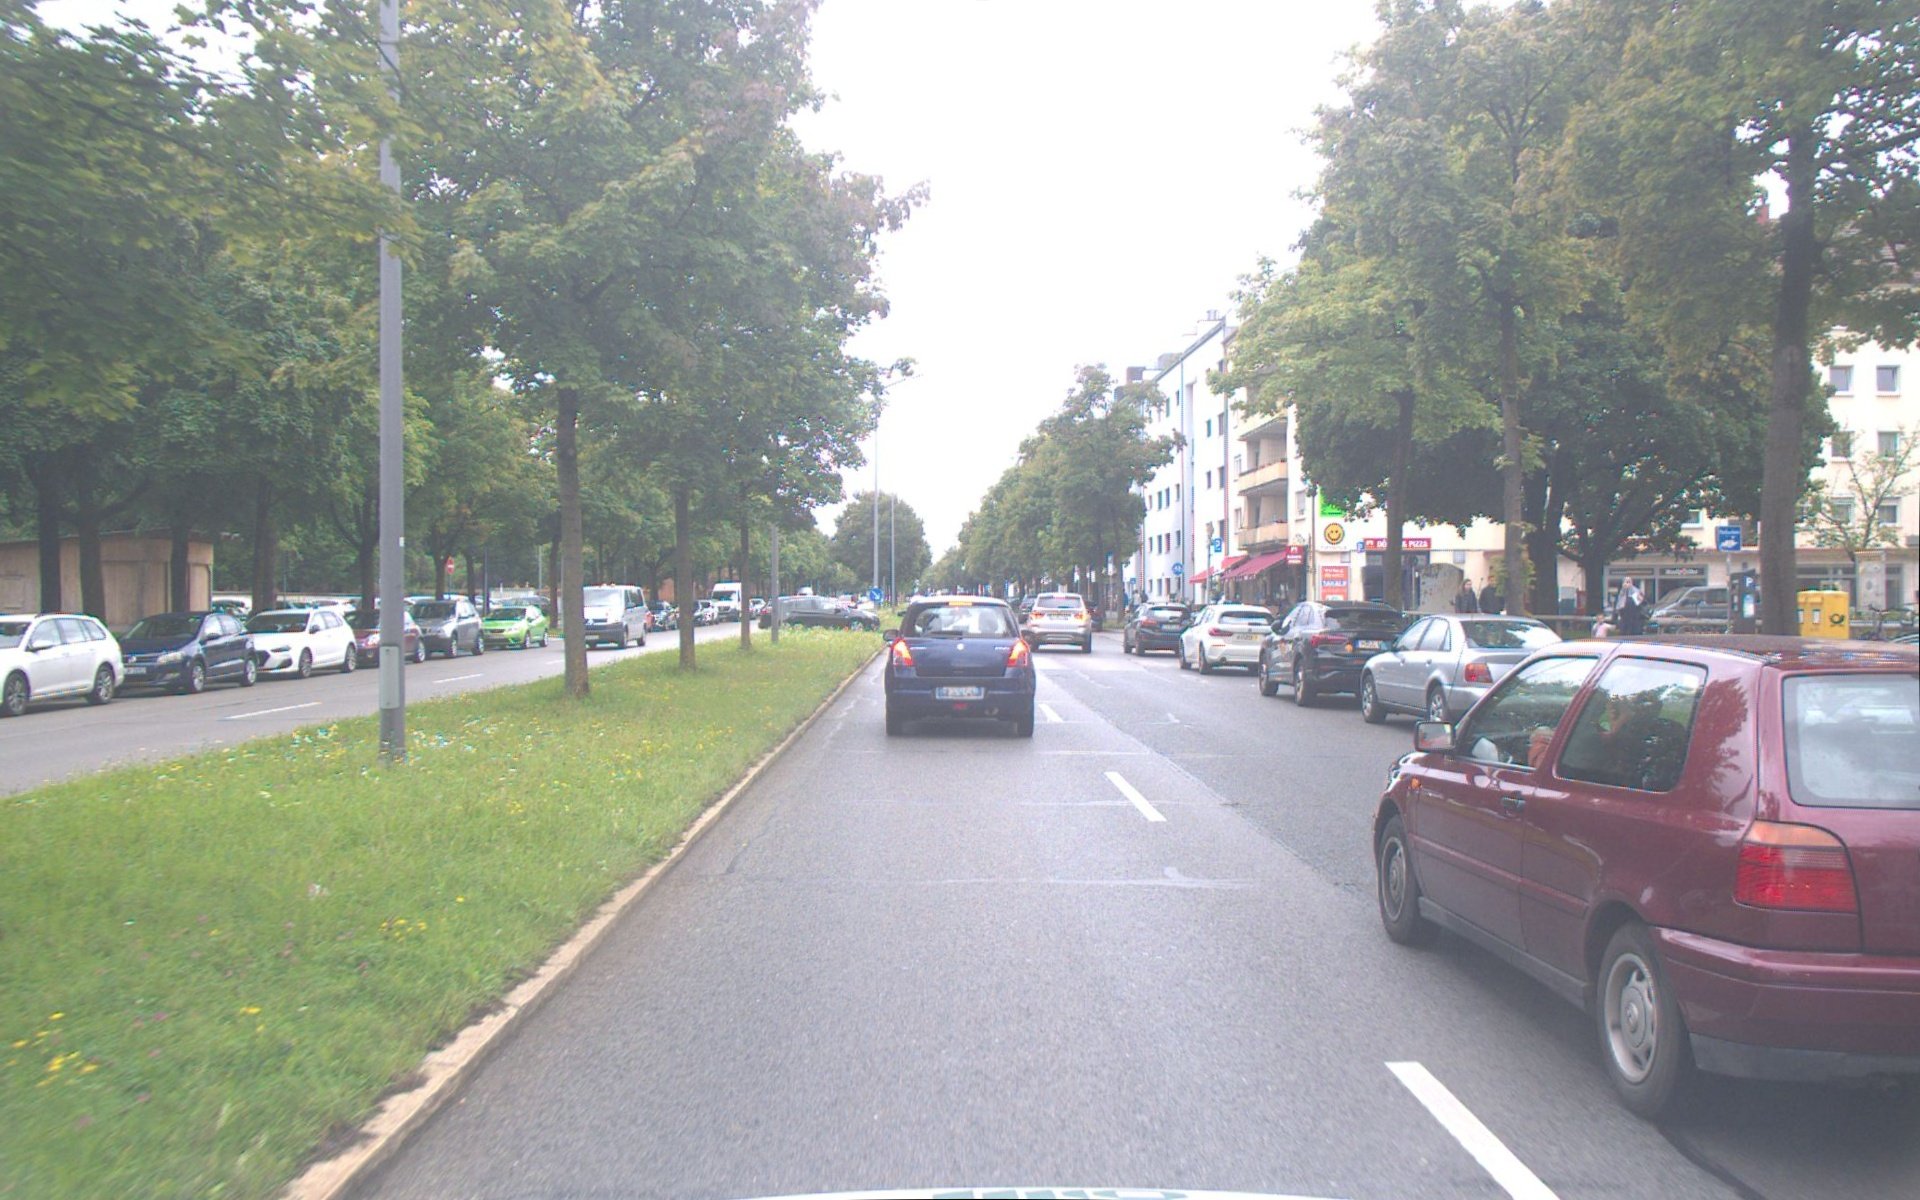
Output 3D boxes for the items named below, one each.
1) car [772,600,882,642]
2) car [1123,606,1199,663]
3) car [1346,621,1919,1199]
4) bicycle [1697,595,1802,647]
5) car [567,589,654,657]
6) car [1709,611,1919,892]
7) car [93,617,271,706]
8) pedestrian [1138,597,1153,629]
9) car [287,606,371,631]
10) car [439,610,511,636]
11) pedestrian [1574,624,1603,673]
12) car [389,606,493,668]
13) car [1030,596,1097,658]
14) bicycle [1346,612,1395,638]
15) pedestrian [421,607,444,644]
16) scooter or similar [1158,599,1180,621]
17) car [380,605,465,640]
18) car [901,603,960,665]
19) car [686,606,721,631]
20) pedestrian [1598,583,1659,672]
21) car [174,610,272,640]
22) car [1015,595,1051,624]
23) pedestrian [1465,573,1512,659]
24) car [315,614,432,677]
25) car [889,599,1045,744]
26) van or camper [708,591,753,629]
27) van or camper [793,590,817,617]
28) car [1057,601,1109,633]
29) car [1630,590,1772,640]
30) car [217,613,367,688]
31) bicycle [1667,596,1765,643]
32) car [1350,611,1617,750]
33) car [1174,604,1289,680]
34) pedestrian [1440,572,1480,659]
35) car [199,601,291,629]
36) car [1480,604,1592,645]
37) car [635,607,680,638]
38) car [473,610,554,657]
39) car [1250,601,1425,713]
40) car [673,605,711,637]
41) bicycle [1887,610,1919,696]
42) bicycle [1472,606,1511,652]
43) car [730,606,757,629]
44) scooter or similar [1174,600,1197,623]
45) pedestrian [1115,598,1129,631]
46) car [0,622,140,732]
[{"bbox_3d":[-5.019,0.773,62.051,4.043,1.494,1.837,0,0,-7],"label":"car"},{"bbox_3d":[5.582,0.933,46.277,1.584,1.491,3.673,2,0,-1],"label":"car"},{"bbox_3d":[2.772,0.818,6.117,1.648,1.408,3.917,1,0,-2],"label":"car"},{"bbox_3d":[15.429,0.417,32.337,1.839,0.990,0.433,1,-1,0],"label":"bicycle"},{"bbox_3d":[-10.953,0.709,52.174,1.763,1.967,4.992,-2,0,-2],"label":"car"},{"bbox_3d":[6.035,0.844,9.345,1.715,1.491,4.176,1,0,0],"label":"car"},{"bbox_3d":[-14.249,1.081,30.523,1.581,1.442,3.895,-2,0,-3],"label":"car"},{"bbox_3d":[11.654,0.809,103.831,0.778,2.049,1.006,0,0,0],"label":"pedestrian"},{"bbox_3d":[-39.582,1.155,103.883,4.595,1.471,1.672,1,-1,-1],"label":"car"},{"bbox_3d":[-28.512,1.377,97.321,3.792,1.471,1.670,1,-1,-6],"label":"car"},{"bbox_3d":[12.612,0.977,33.187,0.399,0.966,0.435,-1,-1,-2],"label":"pedestrian"},{"bbox_3d":[-14.776,1.009,47.286,1.656,1.614,4.369,-2,0,-2],"label":"car"},{"bbox_3d":[3.010,0.741,47.915,1.826,1.690,4.409,1,0,4],"label":"car"},{"bbox_3d":[16.217,0.985,65.375,1.810,0.974,0.557,1,-1,-2],"label":"bicycle"},{"bbox_3d":[-22.540,1.103,70.683,0.712,1.561,0.721,1,-1,0],"label":"pedestrian"},{"bbox_3d":[13.080,0.600,103.536,1.011,1.330,2.755,0,0,0],"label":"scooter or similar"},{"bbox_3d":[-27.588,1.167,84.901,3.843,1.748,1.670,1,-1,-6],"label":"car"},{"bbox_3d":[-0.762,0.825,41.535,1.415,1.509,3.105,0,0,-2],"label":"car"},{"bbox_3d":[-15.531,1.101,100.222,1.599,1.456,3.877,1,0,-2],"label":"car"},{"bbox_3d":[13.224,0.541,32.747,0.821,1.710,0.834,-1,-1,-2],"label":"pedestrian"},{"bbox_3d":[-31.633,1.066,70.975,4.325,1.222,1.669,0,-1,31],"label":"car"},{"bbox_3d":[4.392,0.547,99.739,1.828,1.712,4.222,-1,0,-3],"label":"car"},{"bbox_3d":[11.997,0.365,37.544,0.714,1.923,0.919,-1,-1,-2],"label":"pedestrian"},{"bbox_3d":[-14.651,1.108,41.500,1.558,1.421,3.631,-2,0,1],"label":"car"},{"bbox_3d":[0.012,0.752,19.414,1.648,1.528,3.917,0,0,-2],"label":"car"},{"bbox_3d":[-15.824,0.674,114.402,2.073,2.525,7.448,1,0,0],"label":"van or camper"},{"bbox_3d":[-19.768,0.457,211.078,2.509,3.354,6.935,1,0,-2],"label":"van or camper"},{"bbox_3d":[5.671,0.777,76.905,1.829,1.442,4.221,-1,0,-4],"label":"car"},{"bbox_3d":[28.686,0.568,64.106,4.640,1.804,1.871,-1,0,-3],"label":"car"},{"bbox_3d":[-14.617,1.068,36.442,1.574,1.469,4.278,-2,0,-1],"label":"car"},{"bbox_3d":[16.047,0.412,35.123,1.839,0.956,0.558,1,-1,0],"label":"bicycle"},{"bbox_3d":[6.103,0.878,19.790,1.603,1.410,4.241,1,0,-4],"label":"car"},{"bbox_3d":[5.817,0.864,35.871,1.648,1.491,4.136,2,0,-2],"label":"car"},{"bbox_3d":[11.327,0.351,37.465,0.576,1.923,0.901,-1,-1,-2],"label":"pedestrian"},{"bbox_3d":[-40.195,0.845,93.085,4.414,1.502,1.672,1,-1,-1],"label":"car"},{"bbox_3d":[21.136,0.877,60.779,3.475,1.442,1.872,-1,0,1],"label":"car"},{"bbox_3d":[-15.162,1.121,83.167,1.633,1.471,3.877,1,0,-2],"label":"car"},{"bbox_3d":[-14.915,1.097,55.430,1.515,1.434,3.880,-2,0,2],"label":"car"},{"bbox_3d":[5.772,0.816,25.769,1.682,1.560,4.274,1,0,-1],"label":"car"},{"bbox_3d":[-15.357,1.214,94.889,1.599,1.771,3.877,1,0,-2],"label":"car"},{"bbox_3d":[13.335,0.738,22.451,0.422,1.153,1.883,-1,0,0],"label":"bicycle"},{"bbox_3d":[13.309,0.726,41.466,0.373,1.122,1.883,1,0,0],"label":"bicycle"},{"bbox_3d":[-15.987,1.279,122.273,1.599,1.610,3.877,1,0,-2],"label":"car"},{"bbox_3d":[13.436,0.657,98.595,1.011,1.330,2.755,0,0,0],"label":"scooter or similar"},{"bbox_3d":[10.139,0.914,103.601,0.778,2.049,1.006,0,0,0],"label":"pedestrian"},{"bbox_3d":[-14.378,1.135,25.022,1.727,1.475,4.531,-2,0,-1],"label":"car"}]
